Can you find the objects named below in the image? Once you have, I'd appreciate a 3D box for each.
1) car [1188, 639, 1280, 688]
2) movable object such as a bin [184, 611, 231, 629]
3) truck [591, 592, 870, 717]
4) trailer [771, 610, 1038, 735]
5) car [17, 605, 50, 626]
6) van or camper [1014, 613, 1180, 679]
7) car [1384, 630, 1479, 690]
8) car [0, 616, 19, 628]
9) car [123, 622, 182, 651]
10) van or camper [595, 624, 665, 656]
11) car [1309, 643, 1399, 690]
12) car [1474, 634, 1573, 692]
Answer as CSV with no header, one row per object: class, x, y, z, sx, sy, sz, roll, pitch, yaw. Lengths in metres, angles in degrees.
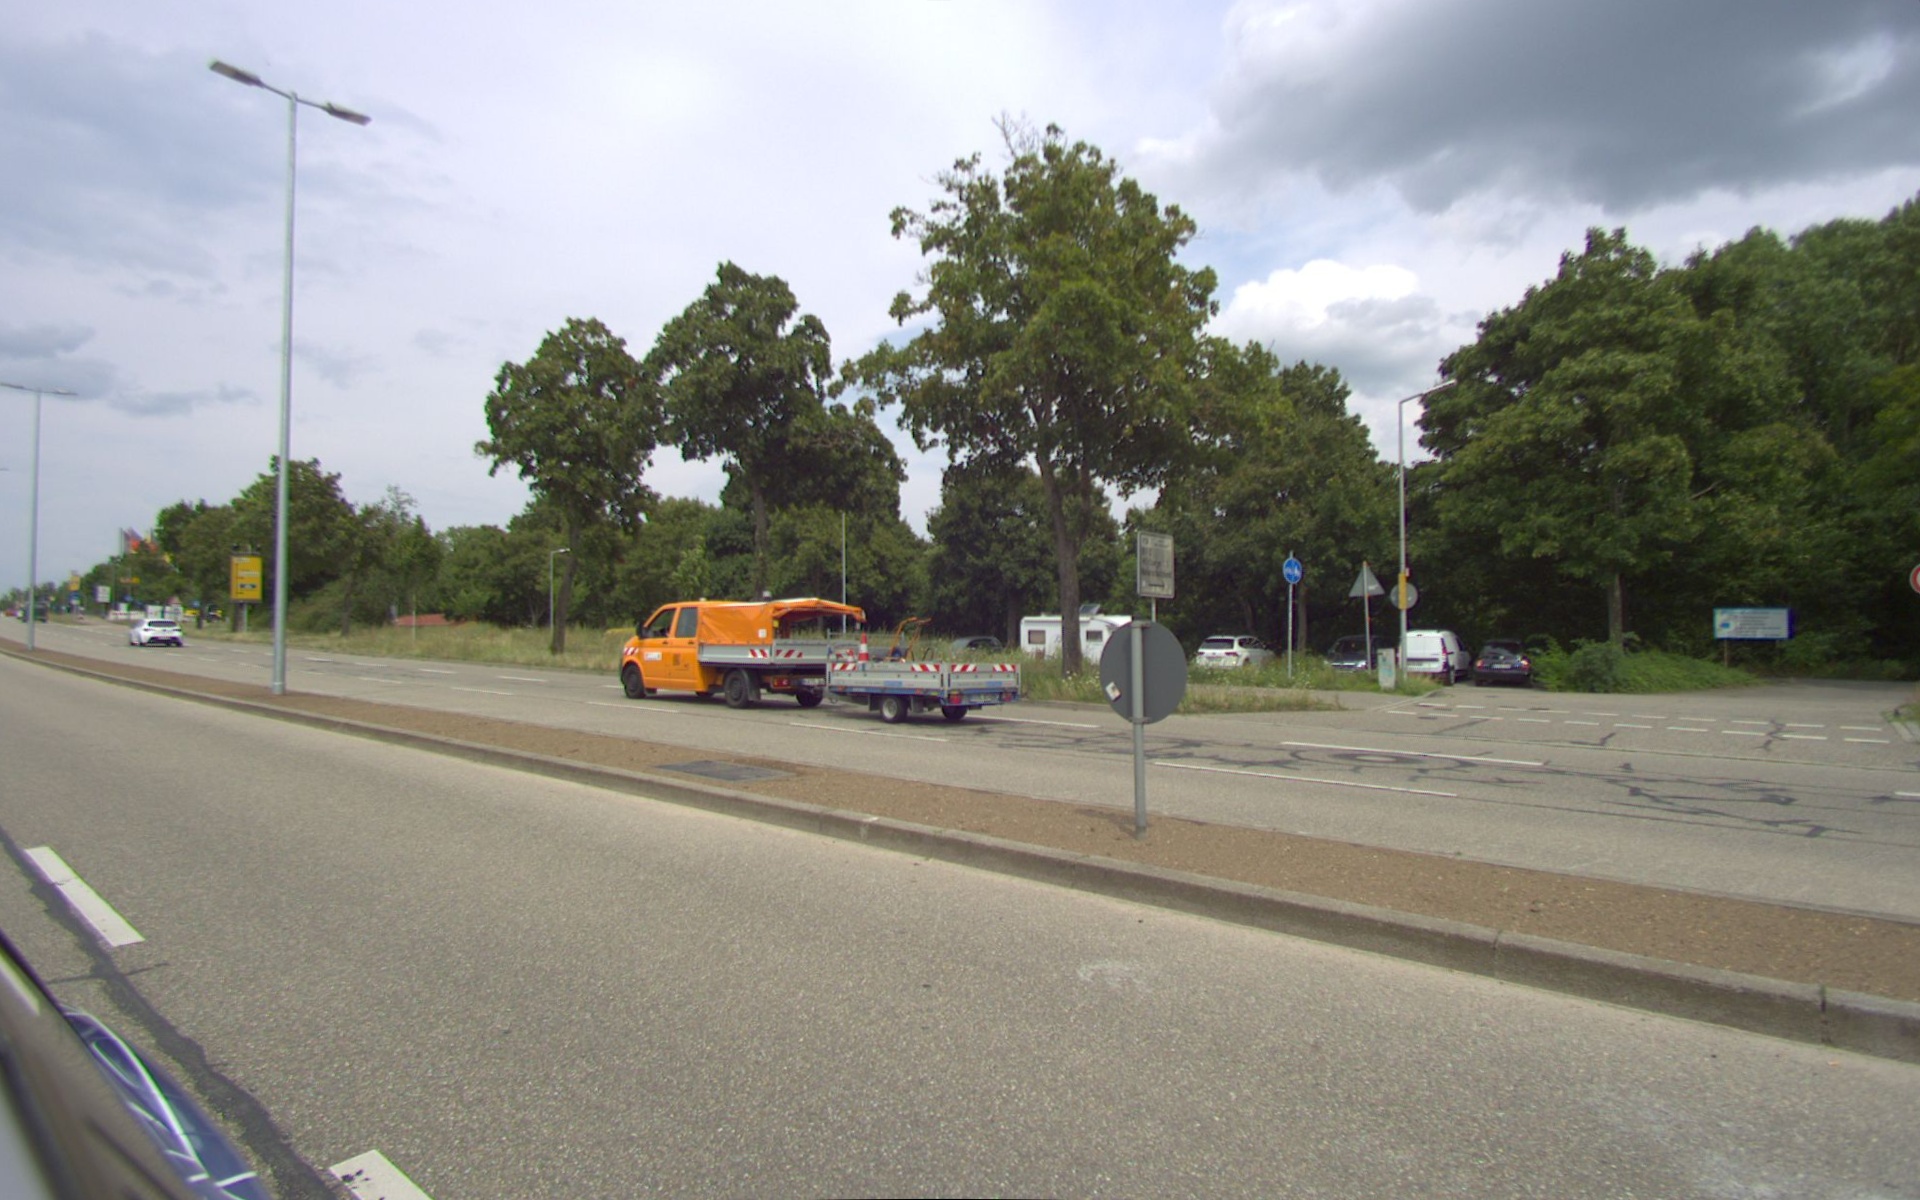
car,10.556,2.401,38.871,1.885,1.729,3.946,-2,-2,40
movable object such as a bin,-100.003,2.670,134.501,1.994,2.415,4.540,-2,-2,33
truck,-4.520,1.010,19.171,6.038,2.010,2.066,-2,-4,42
trailer,-0.941,1.059,15.903,3.894,1.702,2.040,-1,-3,42
car,-102.670,1.713,112.117,6.002,2.218,2.073,-1,-3,42
van or camper,5.656,1.902,42.642,6.718,2.560,2.445,-2,-3,42
car,16.148,1.990,34.574,1.938,1.901,3.945,-2,-3,41
car,-121.845,2.830,129.357,4.689,1.442,1.971,-2,-3,44
car,-41.895,1.904,52.451,4.159,1.431,1.698,-2,-4,42
van or camper,-23.677,2.841,72.628,4.298,2.029,2.004,-1,0,-39
car,14.138,2.334,36.219,1.795,1.497,3.945,-2,-2,41
car,18.409,2.010,32.978,2.045,1.726,3.945,-2,-3,41
